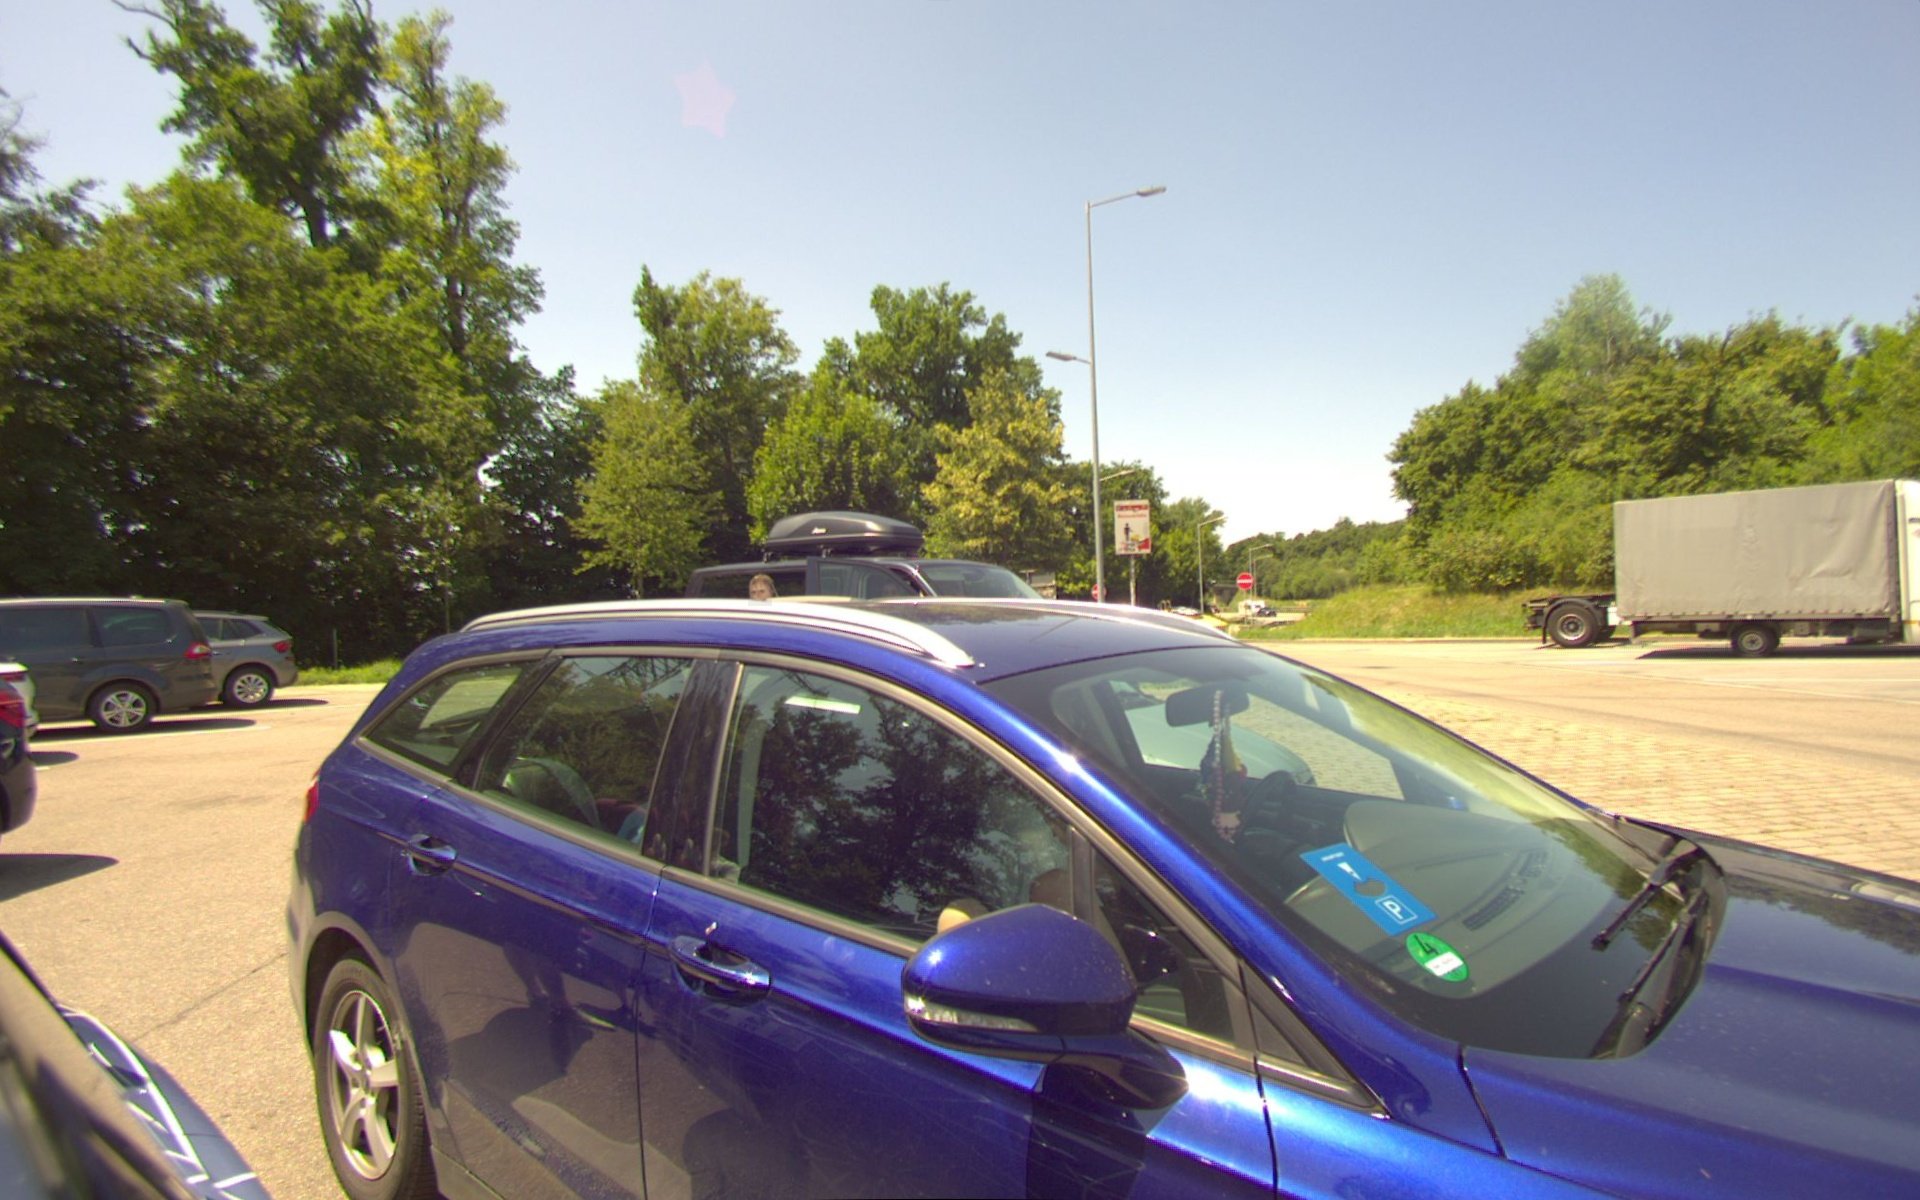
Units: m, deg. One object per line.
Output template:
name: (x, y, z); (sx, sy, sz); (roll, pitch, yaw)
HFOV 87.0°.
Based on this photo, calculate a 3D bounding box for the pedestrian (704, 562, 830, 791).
pedestrian: (-1.605, 0.592, 8.376); (0.743, 1.767, 0.787); (-1, 0, -36)

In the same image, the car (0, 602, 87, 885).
car: (-6.222, 0.781, 4.006); (1.724, 1.564, 4.342); (0, -1, 2)

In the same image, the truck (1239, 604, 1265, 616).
truck: (48.194, 1.640, 167.150); (2.304, 2.029, 5.203); (-1, 0, -5)

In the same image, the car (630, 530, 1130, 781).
car: (-0.879, 0.499, 9.654); (4.558, 1.912, 1.740); (-3, 0, 32)

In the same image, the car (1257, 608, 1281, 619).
car: (48.588, 2.169, 159.305); (1.937, 1.644, 4.790); (-1, 0, -5)

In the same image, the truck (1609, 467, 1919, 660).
truck: (16.794, -0.650, 19.007); (7.274, 3.269, 2.678); (-4, -1, 42)

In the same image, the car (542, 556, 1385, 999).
car: (-0.308, 0.670, 5.605); (4.569, 1.517, 1.735); (-3, 0, 40)

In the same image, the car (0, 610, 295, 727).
car: (-12.610, 0.974, 15.658); (3.767, 1.572, 1.654); (-1, 0, -38)

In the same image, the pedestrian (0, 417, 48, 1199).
pedestrian: (-2.714, 0.522, 2.237); (0.905, 1.919, 0.816); (-1, 0, -33)

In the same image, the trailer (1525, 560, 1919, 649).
trailer: (17.718, 0.154, 23.105); (8.098, 1.638, 2.187); (-4, -1, 41)

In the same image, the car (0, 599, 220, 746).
car: (-11.618, 0.870, 12.651); (3.767, 1.708, 1.654); (-1, 0, -38)

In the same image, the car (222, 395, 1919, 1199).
car: (0.247, 0.635, 2.068); (4.569, 1.482, 1.735); (-3, 0, 40)
